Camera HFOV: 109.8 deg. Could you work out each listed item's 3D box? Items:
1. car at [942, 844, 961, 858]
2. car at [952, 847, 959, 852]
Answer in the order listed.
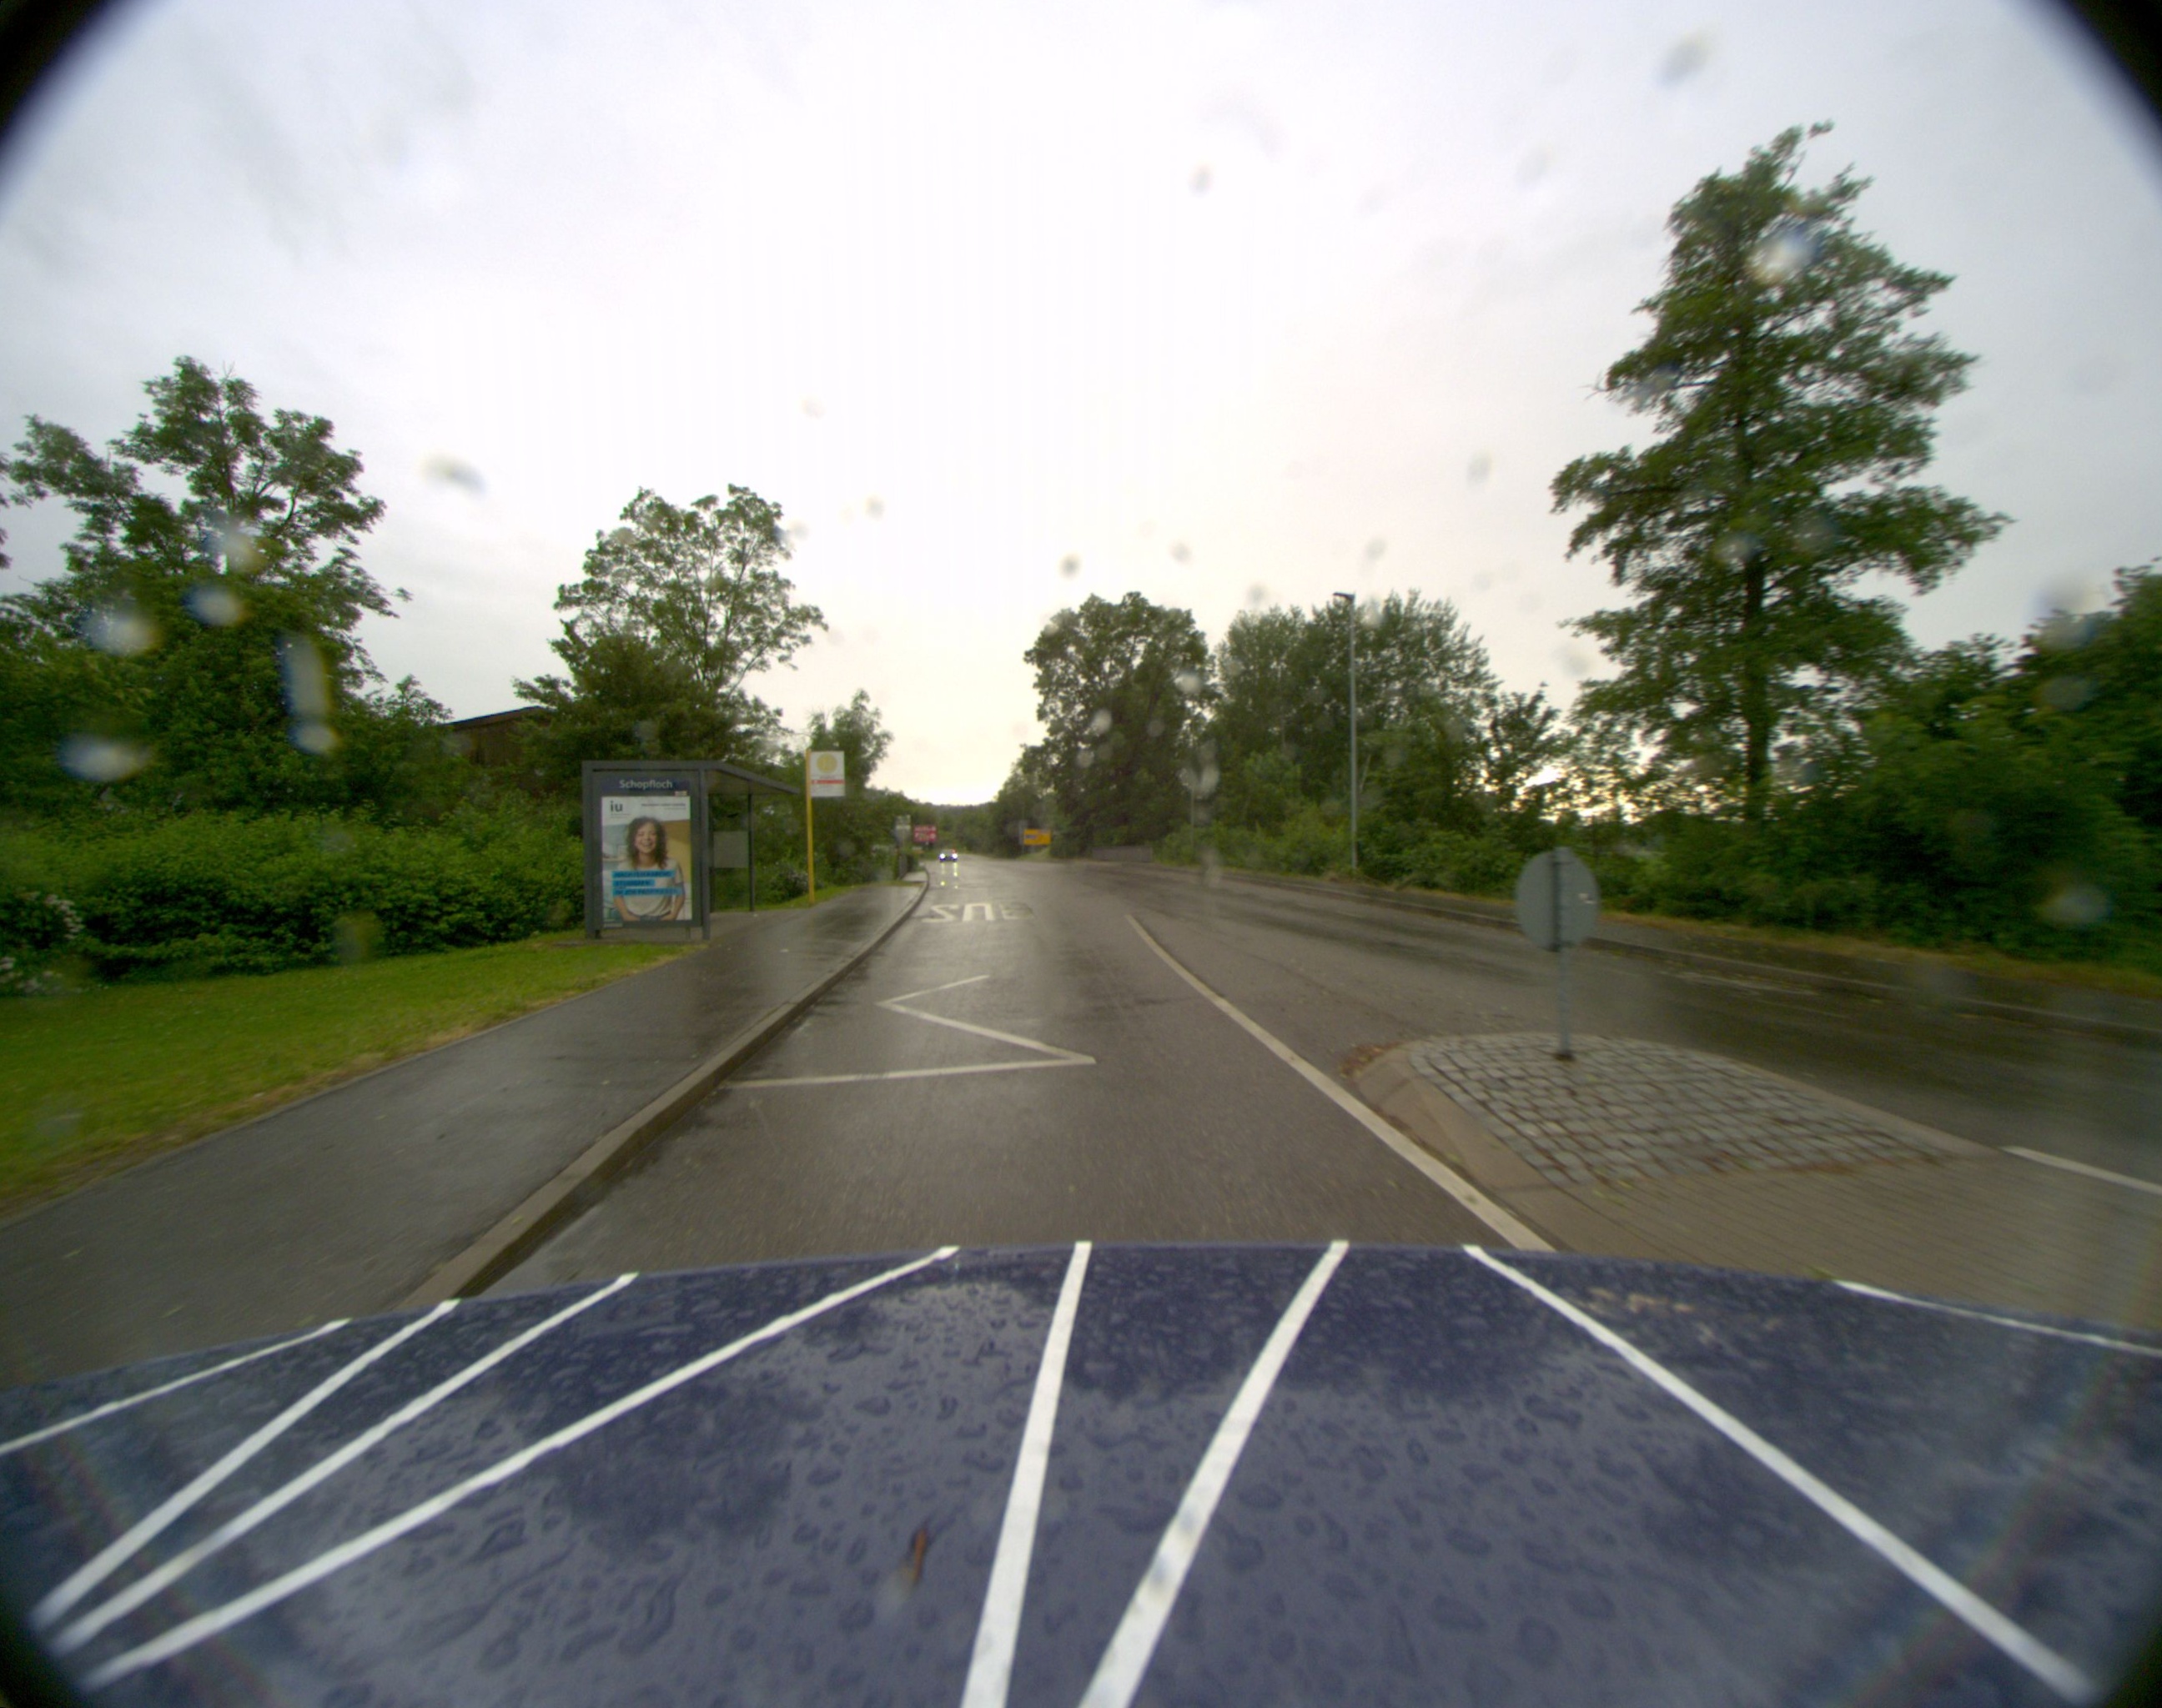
[{"bbox_3d":[-14.990,-0.383,87.959,1.856,1.481,4.118,-1,1,-5],"label":"car"},{"bbox_3d":[-36.829,-1.403,223.574,1.835,1.515,3.996,-1,1,-8],"label":"car"}]
